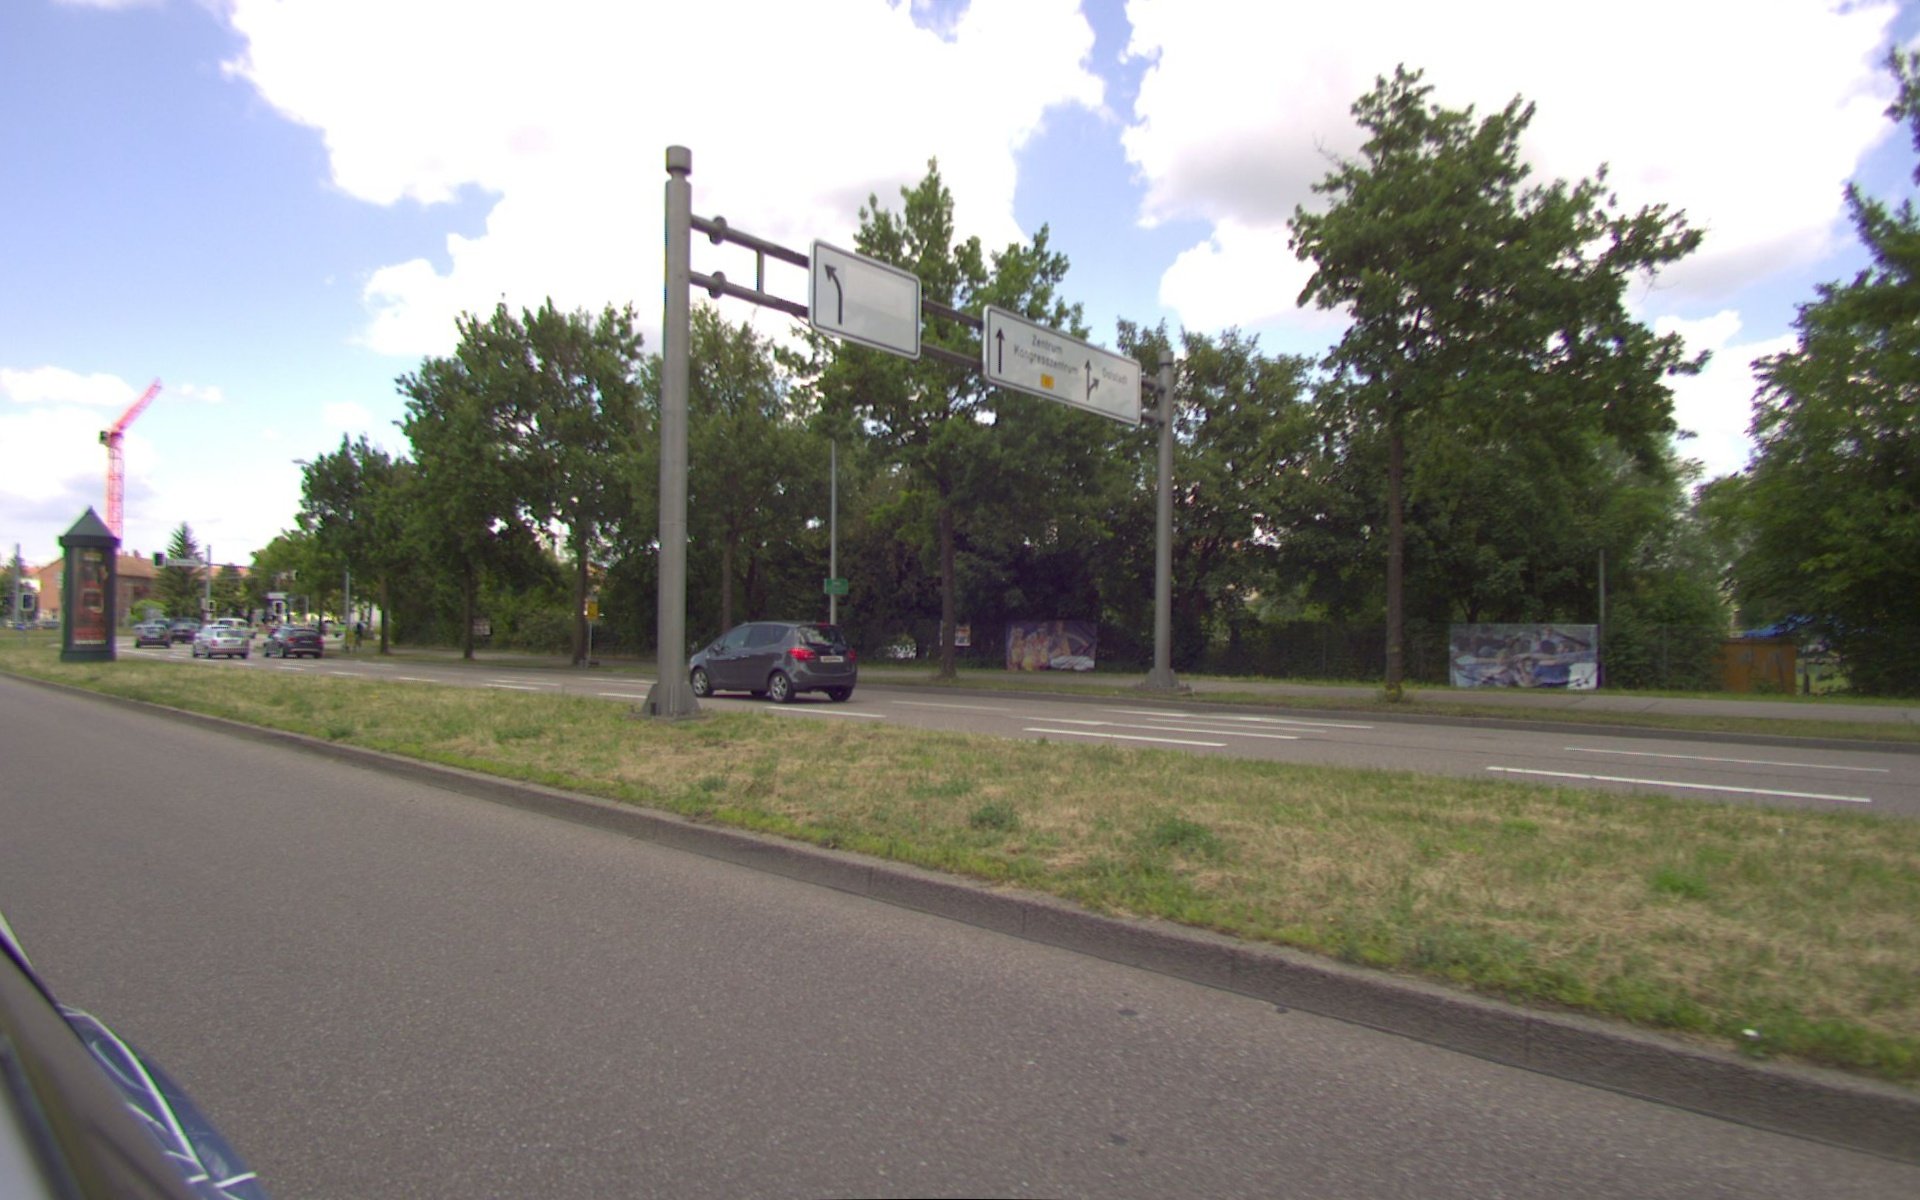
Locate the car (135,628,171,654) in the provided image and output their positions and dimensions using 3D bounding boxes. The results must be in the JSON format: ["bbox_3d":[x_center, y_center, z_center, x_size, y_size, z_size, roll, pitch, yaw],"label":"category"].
[{"bbox_3d":[-51.597,2.597,64.751,1.700,1.603,5.023,2,-3,-38],"label":"car"}]

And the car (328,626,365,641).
[{"bbox_3d":[-58.350,3.240,96.351,1.594,1.358,4.180,2,-3,-11],"label":"car"}]

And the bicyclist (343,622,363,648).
[{"bbox_3d":[-37.994,2.204,63.321,0.883,1.576,0.821,-1,0,41],"label":"bicyclist"}]

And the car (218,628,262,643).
[{"bbox_3d":[-83.376,4.075,117.152,4.765,1.699,2.258,-1,-1,28],"label":"car"}]

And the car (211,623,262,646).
[{"bbox_3d":[-60.829,2.924,85.137,1.813,1.813,4.800,2,-3,-14],"label":"car"}]

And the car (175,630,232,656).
[{"bbox_3d":[-45.893,2.575,61.329,4.366,1.552,1.890,-2,-3,41],"label":"car"}]

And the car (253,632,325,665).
[{"bbox_3d":[-34.201,2.419,51.537,5.028,1.589,1.745,-1,-3,41],"label":"car"}]

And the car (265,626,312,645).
[{"bbox_3d":[-55.535,2.929,83.747,1.813,1.454,4.431,2,-3,-14],"label":"car"}]

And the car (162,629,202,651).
[{"bbox_3d":[-57.847,2.964,75.301,1.812,1.491,4.767,3,-3,-31],"label":"car"}]

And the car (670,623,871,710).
[{"bbox_3d":[-3.929,1.302,20.650,4.273,1.581,1.723,-2,-3,41],"label":"car"}]

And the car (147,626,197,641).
[{"bbox_3d":[-86.890,3.735,111.598,4.546,1.604,1.906,0,-1,13],"label":"car"}]

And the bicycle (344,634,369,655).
[{"bbox_3d":[-37.806,2.761,63.365,2.015,1.228,0.753,-1,0,41],"label":"bicycle"}]

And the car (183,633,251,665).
[{"bbox_3d":[-35.523,2.324,48.340,4.307,1.451,1.744,-2,-3,42],"label":"car"}]

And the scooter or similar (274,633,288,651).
[{"bbox_3d":[-45.384,2.828,67.643,0.534,1.175,1.441,1,-1,-44],"label":"scooter or similar"}]
